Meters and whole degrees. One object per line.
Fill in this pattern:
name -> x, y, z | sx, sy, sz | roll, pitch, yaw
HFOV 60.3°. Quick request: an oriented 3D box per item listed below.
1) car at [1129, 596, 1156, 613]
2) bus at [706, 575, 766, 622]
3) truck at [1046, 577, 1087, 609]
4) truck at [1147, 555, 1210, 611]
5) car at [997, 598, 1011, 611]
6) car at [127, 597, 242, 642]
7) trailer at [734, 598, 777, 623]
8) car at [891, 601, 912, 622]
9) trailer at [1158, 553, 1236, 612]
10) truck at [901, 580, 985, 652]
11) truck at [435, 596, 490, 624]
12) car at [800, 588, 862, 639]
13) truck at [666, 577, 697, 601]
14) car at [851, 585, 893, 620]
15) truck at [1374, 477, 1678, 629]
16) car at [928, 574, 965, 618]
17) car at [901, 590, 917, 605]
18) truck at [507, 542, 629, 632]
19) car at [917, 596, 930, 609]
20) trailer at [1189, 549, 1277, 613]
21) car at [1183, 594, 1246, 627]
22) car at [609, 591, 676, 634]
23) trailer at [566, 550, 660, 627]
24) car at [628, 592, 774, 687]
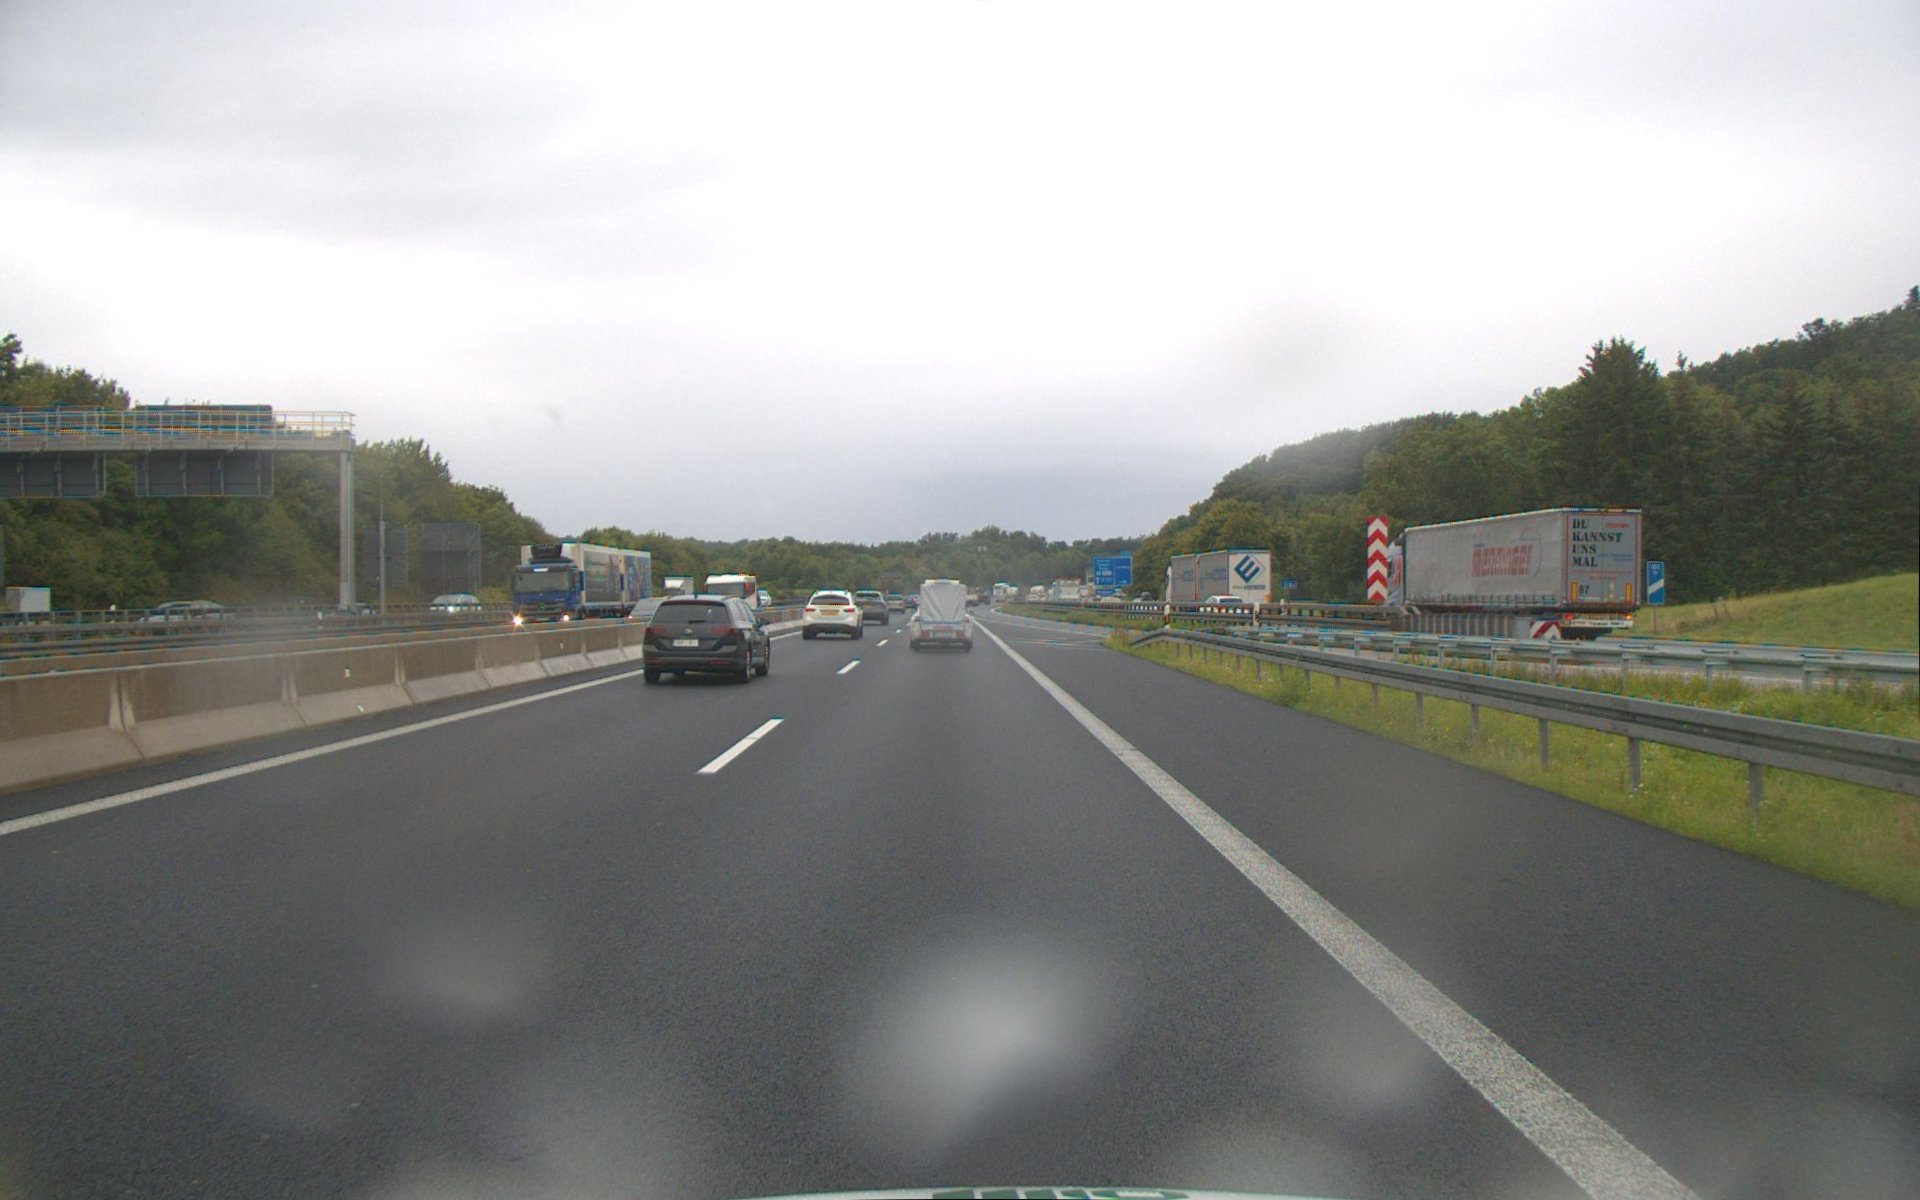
car -> 14.758, 0.365, 133.627 | 1.663, 1.311, 3.534 | 1, 0, -2
bus -> -13.275, -0.069, 98.535 | 2.489, 2.632, 8.269 | 1, 0, -1
truck -> 12.735, -0.820, 197.942 | 3.750, 3.723, 8.265 | 1, 0, -4
truck -> 14.522, -1.107, 110.371 | 2.881, 3.588, 5.920 | 1, 0, -6
car -> 5.567, 0.525, 207.528 | 1.612, 1.601, 4.000 | 1, 0, 0
car -> -28.499, 0.681, 60.967 | 1.952, 1.564, 4.689 | 0, 0, 1
trailer -> -17.479, 0.849, 141.781 | 2.485, 2.049, 10.243 | 0, 0, -1
car -> -5.114, 0.987, 144.608 | 1.703, 1.825, 3.999 | 1, 0, -1
trailer -> 15.047, -1.087, 105.692 | 2.881, 3.588, 8.408 | 1, 0, -6
truck -> -0.493, 0.418, 47.341 | 2.196, 1.871, 6.583 | 1, 0, -1
truck -> -27.736, 0.523, 92.386 | 1.954, 1.522, 4.468 | 0, 0, -3
car -> -4.528, 0.441, 57.542 | 2.009, 1.700, 4.535 | 1, 0, -6
truck -> -35.487, -1.369, 210.915 | 2.683, 2.923, 8.539 | 0, 0, -1
car -> -4.542, 0.113, 85.763 | 1.935, 1.733, 4.801 | 1, 0, -1
truck -> 19.307, -1.397, 58.630 | 3.746, 4.620, 16.867 | 0, 0, -5
car -> -0.918, -0.276, 109.793 | 2.284, 2.773, 6.537 | 0, 0, -2
car -> -5.631, -0.301, 183.702 | 1.612, 1.601, 4.000 | 1, 0, 0
truck -> -16.972, -0.509, 72.469 | 2.751, 3.586, 10.640 | 1, 0, 0
car -> -4.819, 0.351, 217.254 | 1.612, 1.601, 4.000 | 1, 0, 0
trailer -> 15.966, -1.079, 97.448 | 3.019, 3.588, 8.074 | 1, 0, -6
car -> 12.971, 0.534, 84.620 | 1.955, 1.645, 5.071 | 0, 0, -7
car -> -12.858, 0.481, 67.250 | 1.953, 1.646, 3.999 | 1, 0, -1
trailer -> -17.042, -0.532, 81.776 | 2.882, 3.577, 8.051 | 1, 0, 0
car -> -4.407, 0.624, 28.795 | 1.751, 1.484, 4.802 | 1, 0, 0
